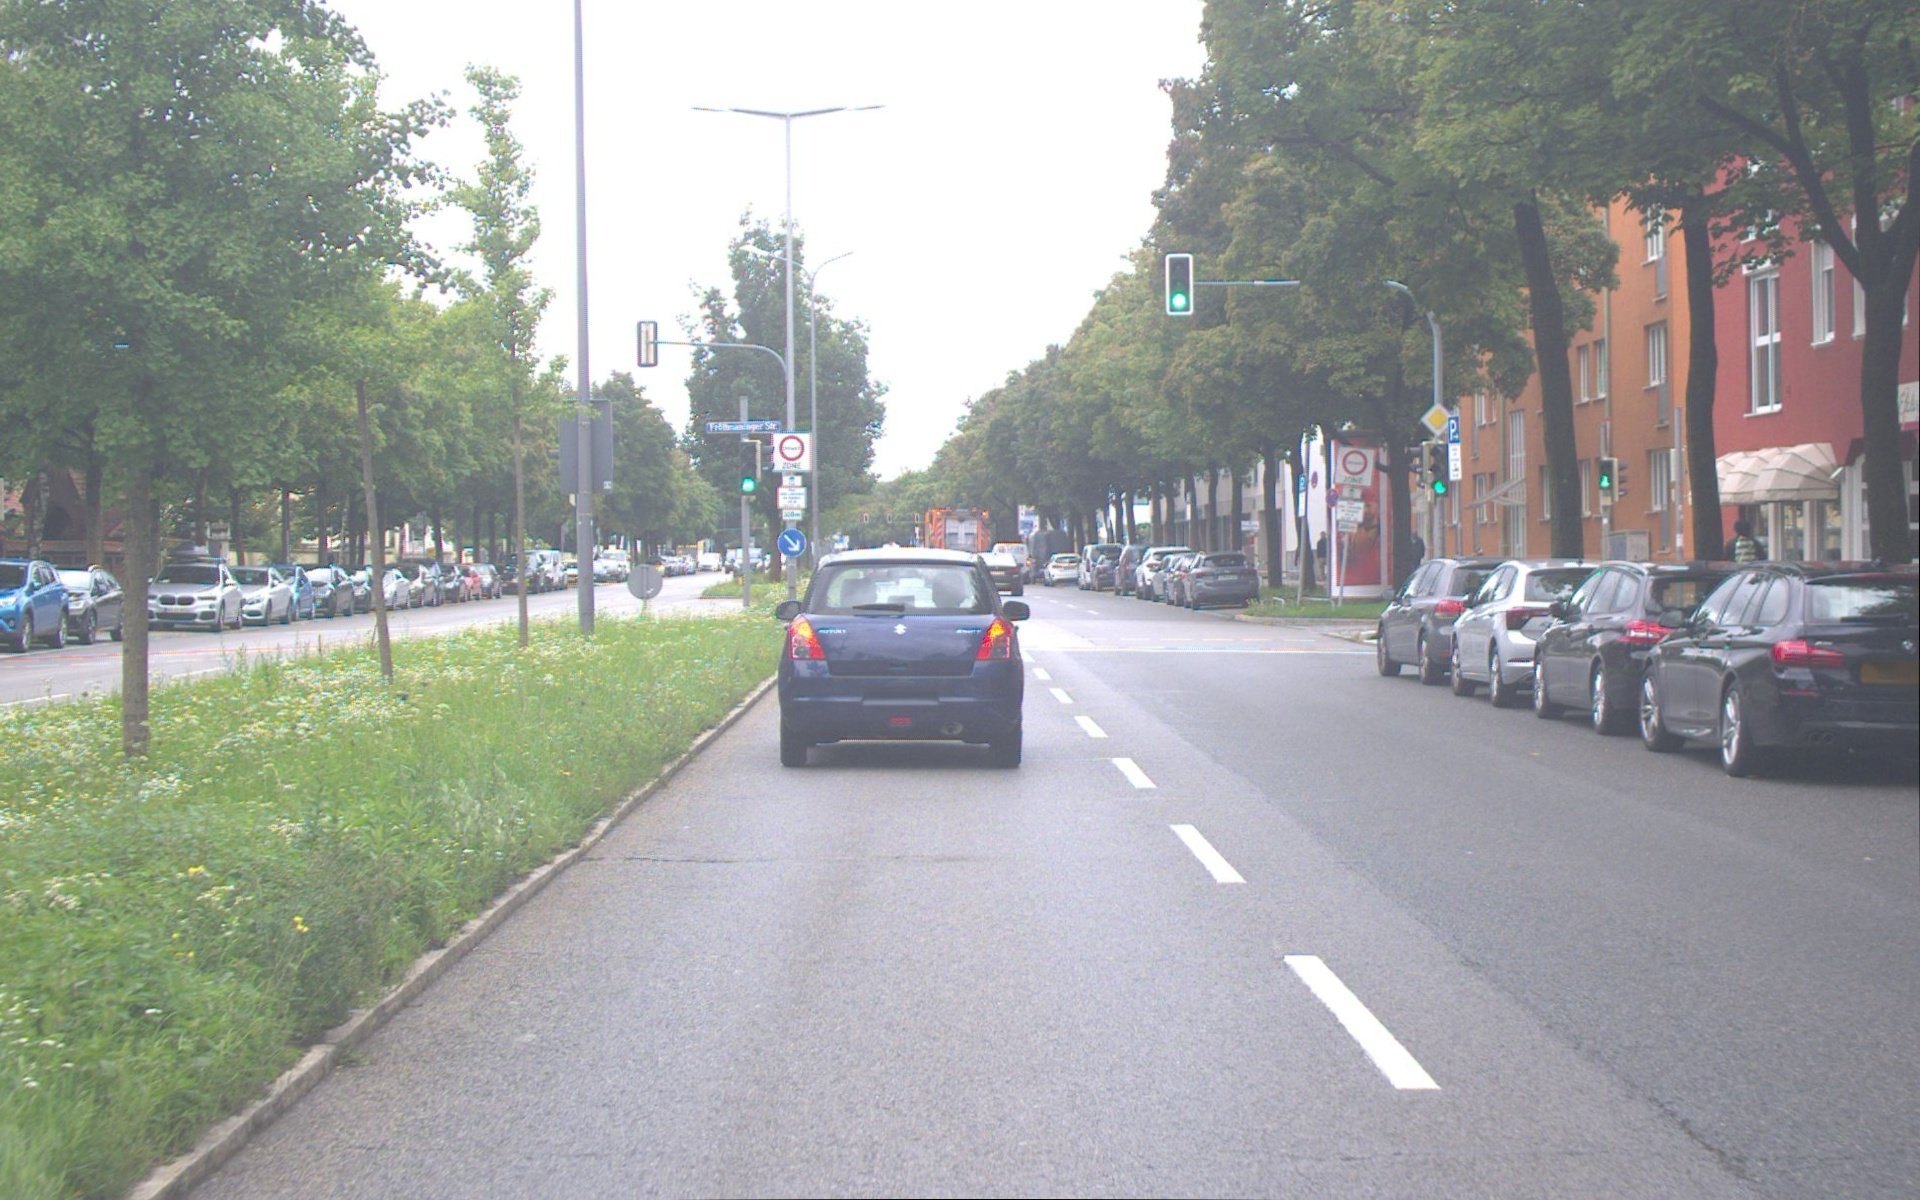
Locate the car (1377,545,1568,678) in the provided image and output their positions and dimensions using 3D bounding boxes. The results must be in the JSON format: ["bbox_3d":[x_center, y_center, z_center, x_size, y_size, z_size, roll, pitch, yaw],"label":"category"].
[{"bbox_3d":[5.929,0.092,40.163,1.695,1.447,4.123,-1,1,1],"label":"car"}]

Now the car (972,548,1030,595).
[{"bbox_3d":[1.389,-0.986,117.129,1.821,1.472,4.691,2,1,-1],"label":"car"}]

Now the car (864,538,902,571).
[{"bbox_3d":[-3.540,-2.131,159.453,1.718,1.495,4.301,0,1,-1],"label":"car"}]

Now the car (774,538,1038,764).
[{"bbox_3d":[-0.349,0.303,24.902,1.753,1.499,4.000,0,1,0],"label":"car"}]

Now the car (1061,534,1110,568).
[{"bbox_3d":[5.671,-2.218,155.479,1.993,1.525,4.000,-1,1,-1],"label":"car"}]

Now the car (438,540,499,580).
[{"bbox_3d":[-19.150,-1.585,134.064,1.801,1.529,4.000,-1,1,-1],"label":"car"}]

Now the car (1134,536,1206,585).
[{"bbox_3d":[6.620,-1.263,108.574,1.993,1.525,4.000,0,1,-1],"label":"car"}]

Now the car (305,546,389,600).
[{"bbox_3d":[-18.205,-0.816,102.275,1.801,1.529,4.000,-1,1,-1],"label":"car"}]

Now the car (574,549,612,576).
[{"bbox_3d":[-21.585,-2.235,202.309,1.801,1.529,4.000,-1,1,-1],"label":"car"}]

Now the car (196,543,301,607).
[{"bbox_3d":[-17.660,-0.645,85.458,1.801,1.529,4.000,-1,1,-1],"label":"car"}]

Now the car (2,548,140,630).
[{"bbox_3d":[-17.481,-0.243,67.725,1.706,1.529,4.000,0,1,-1],"label":"car"}]

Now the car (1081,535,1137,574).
[{"bbox_3d":[5.880,-1.808,136.318,1.993,1.525,4.000,-1,1,-1],"label":"car"}]

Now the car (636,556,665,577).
[{"bbox_3d":[-23.099,-2.520,256.487,1.801,1.529,4.000,-1,1,-1],"label":"car"}]

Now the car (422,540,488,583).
[{"bbox_3d":[-18.147,-1.391,123.687,1.801,1.529,4.000,0,1,-1],"label":"car"}]

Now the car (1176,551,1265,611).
[{"bbox_3d":[6.834,-0.521,90.485,1.993,1.525,4.000,-1,1,-1],"label":"car"}]

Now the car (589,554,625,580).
[{"bbox_3d":[-21.503,-1.990,209.468,1.801,1.529,4.000,-1,1,-1],"label":"car"}]

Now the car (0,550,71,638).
[{"bbox_3d":[-17.332,-0.127,61.751,1.706,1.529,4.000,-1,1,-1],"label":"car"}]

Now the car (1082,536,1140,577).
[{"bbox_3d":[5.790,-1.673,131.782,1.993,1.525,4.000,-1,1,-1],"label":"car"}]

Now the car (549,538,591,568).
[{"bbox_3d":[-20.531,-2.472,181.227,1.801,1.529,4.000,0,1,-1],"label":"car"}]

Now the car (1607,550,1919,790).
[{"bbox_3d":[5.918,0.413,24.297,1.653,1.447,4.709,-2,1,-1],"label":"car"}]

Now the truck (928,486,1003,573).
[{"bbox_3d":[0.263,-3.013,148.006,3.041,3.545,13.675,0,1,0],"label":"truck"}]

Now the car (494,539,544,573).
[{"bbox_3d":[-19.803,-1.974,154.483,1.801,1.529,4.000,1,1,-1],"label":"car"}]

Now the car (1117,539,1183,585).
[{"bbox_3d":[6.564,-1.324,119.038,1.993,1.525,4.000,-1,1,-1],"label":"car"}]

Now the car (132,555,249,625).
[{"bbox_3d":[-17.566,-0.247,78.669,1.801,1.529,4.000,-1,1,-1],"label":"car"}]

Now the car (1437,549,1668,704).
[{"bbox_3d":[5.909,0.221,34.669,1.695,1.447,4.123,-1,1,1],"label":"car"}]
